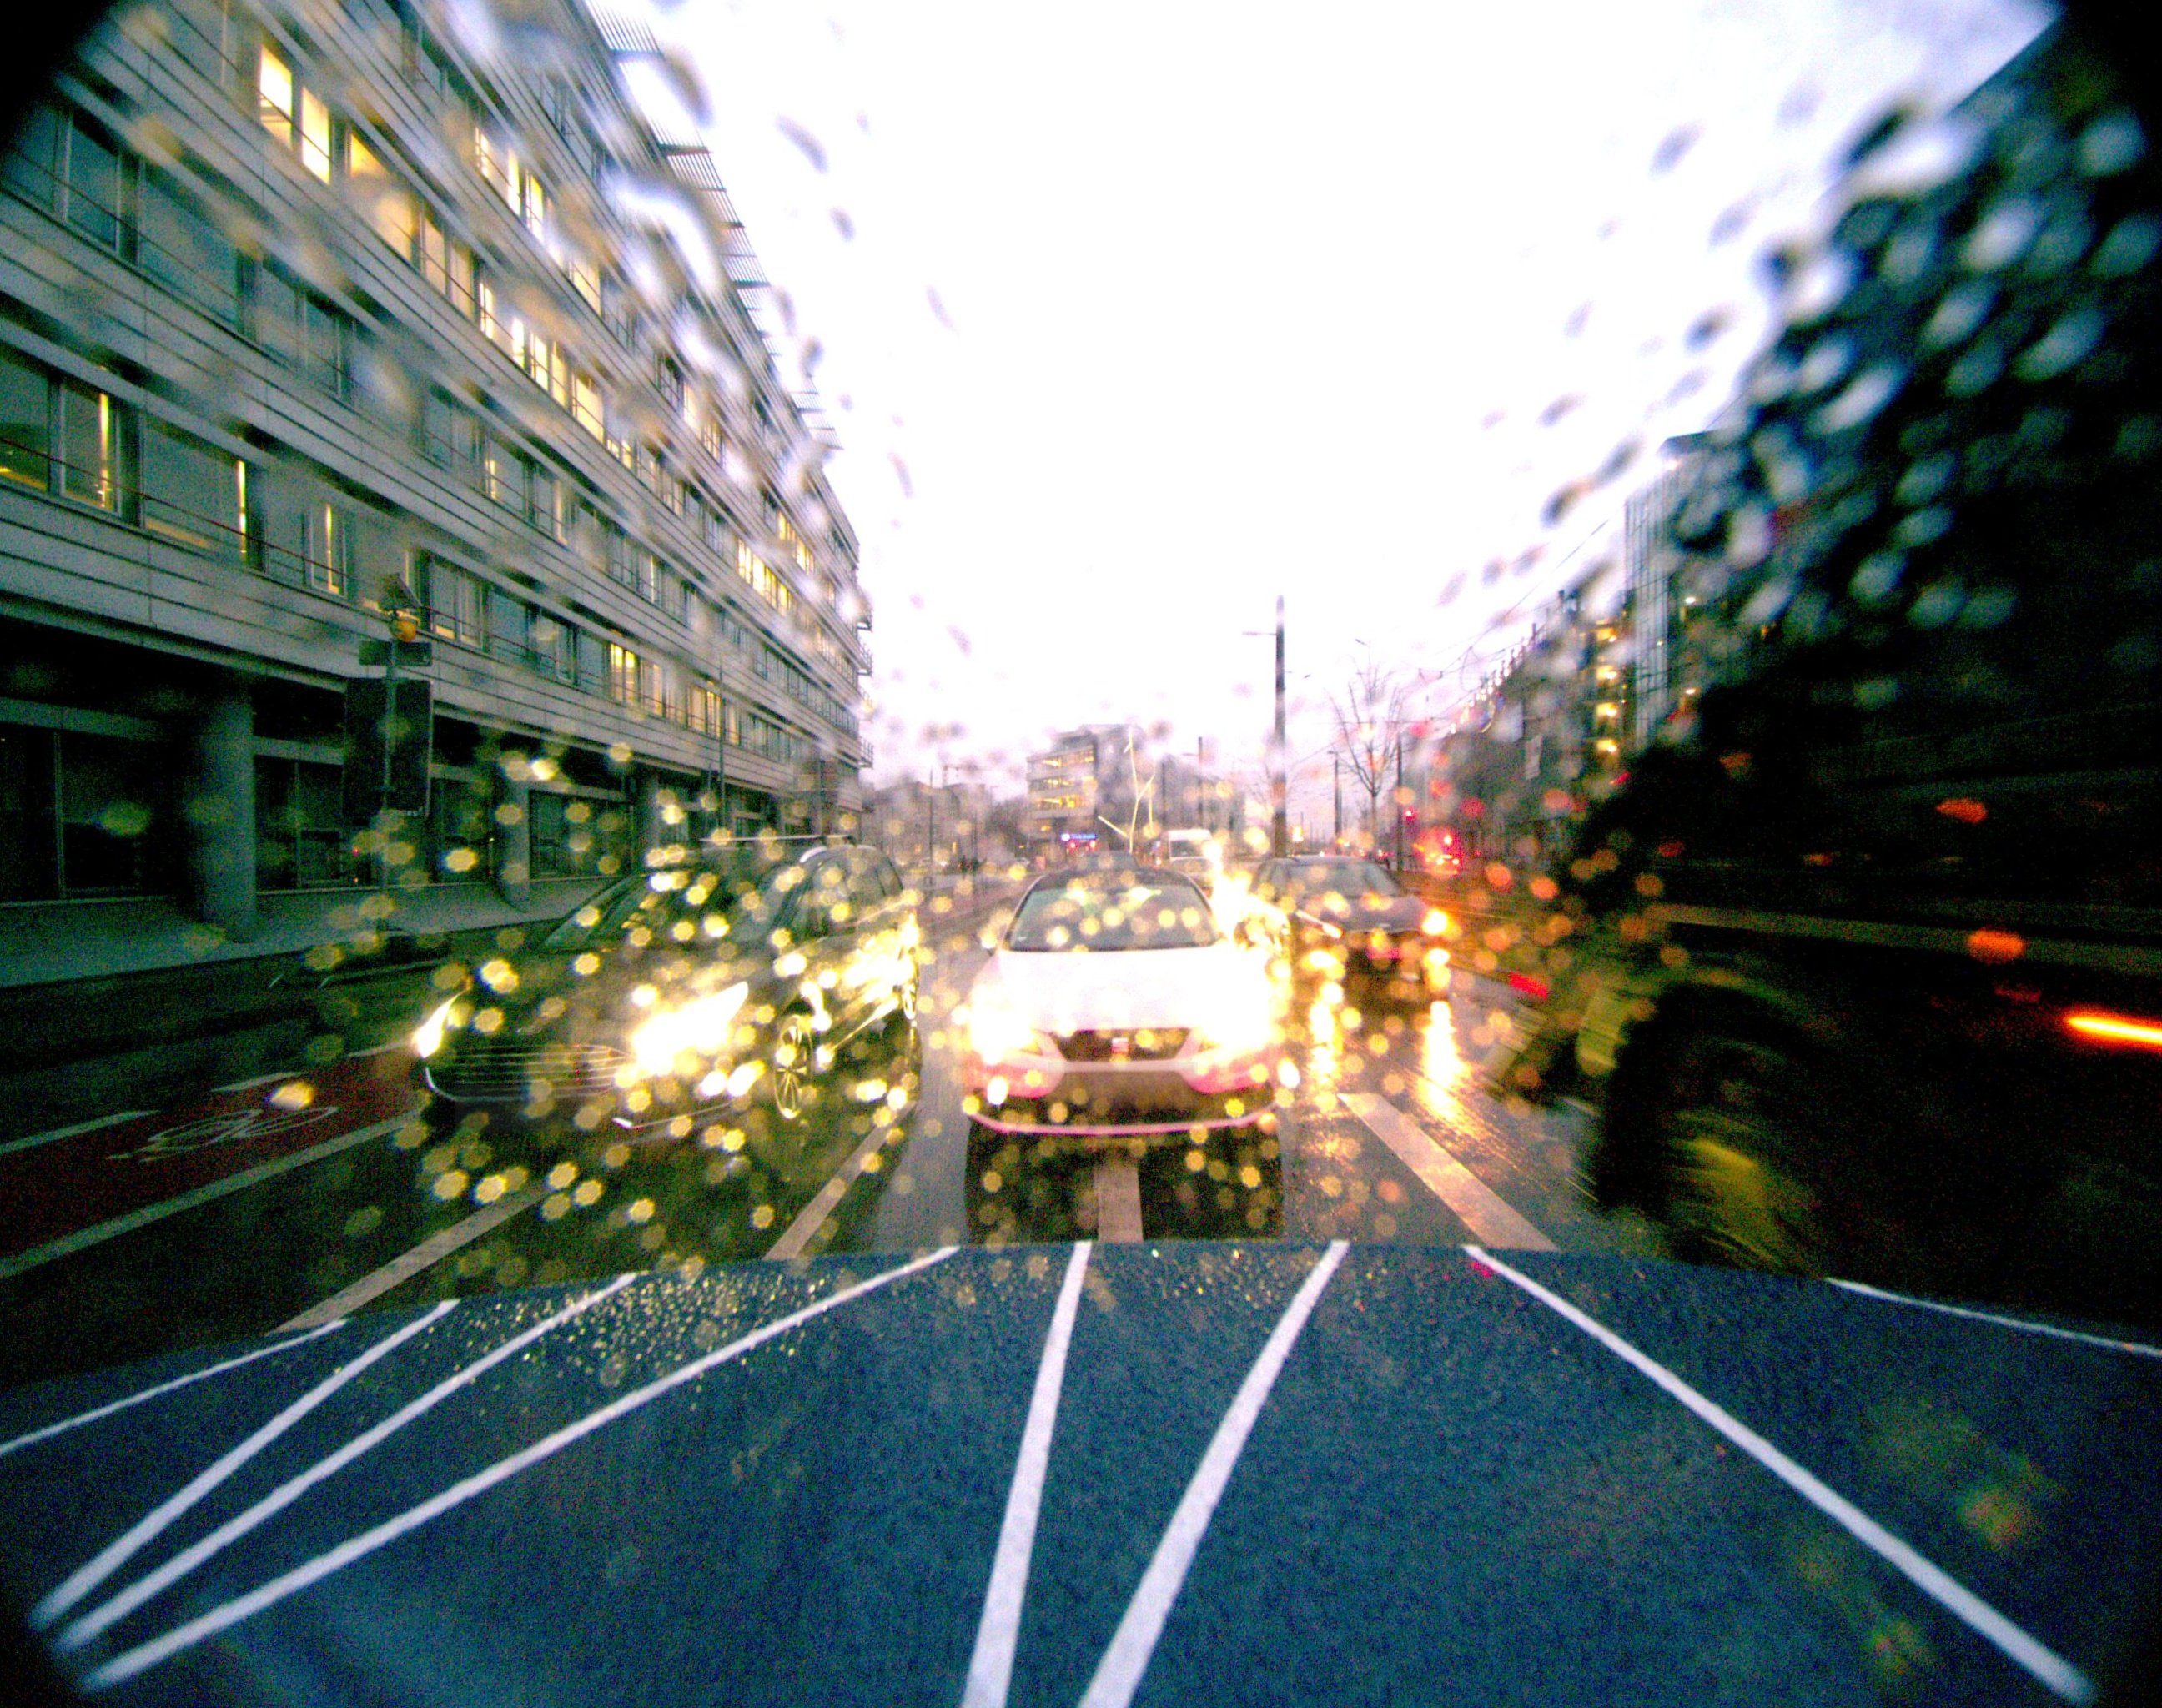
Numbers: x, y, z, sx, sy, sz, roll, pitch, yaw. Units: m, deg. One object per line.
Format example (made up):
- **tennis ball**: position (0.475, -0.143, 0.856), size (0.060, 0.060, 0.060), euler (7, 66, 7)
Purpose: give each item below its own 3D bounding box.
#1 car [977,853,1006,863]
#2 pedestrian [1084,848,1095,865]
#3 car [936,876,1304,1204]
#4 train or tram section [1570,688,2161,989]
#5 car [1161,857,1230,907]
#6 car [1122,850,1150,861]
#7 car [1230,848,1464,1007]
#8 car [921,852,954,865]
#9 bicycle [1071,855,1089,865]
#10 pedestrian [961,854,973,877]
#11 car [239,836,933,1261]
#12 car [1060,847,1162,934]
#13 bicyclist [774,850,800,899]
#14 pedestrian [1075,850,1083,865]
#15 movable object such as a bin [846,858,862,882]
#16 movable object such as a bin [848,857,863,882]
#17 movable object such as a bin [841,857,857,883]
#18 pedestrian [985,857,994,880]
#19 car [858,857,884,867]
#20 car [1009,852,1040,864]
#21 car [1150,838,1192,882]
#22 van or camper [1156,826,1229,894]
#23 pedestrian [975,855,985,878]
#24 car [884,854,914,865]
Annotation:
- **car**: position (-13.023, 0.569, 110.691), size (3.759, 1.528, 1.782), euler (-1, 0, 17)
- **pedestrian**: position (1.022, 0.306, 89.599), size (1.118, 2.002, 1.034), euler (0, 1, 15)
- **car**: position (0.216, 0.971, 5.689), size (1.782, 1.464, 3.943), euler (-1, 0, 1)
- **train or tram section**: position (14.327, -0.197, 9.901), size (2.872, 3.593, 20.068), euler (0, 0, 0)
- **car**: position (3.564, 0.831, 24.271), size (1.759, 1.337, 4.056), euler (-1, 1, 3)
- **car**: position (8.548, 0.234, 118.772), size (4.018, 1.645, 1.907), euler (0, 1, 41)
- **car**: position (3.171, 0.757, 9.905), size (1.634, 1.515, 3.941), euler (-3, 1, 0)
- **car**: position (-21.405, 0.680, 113.718), size (4.368, 1.750, 2.002), euler (-1, 1, 17)
- **bicycle**: position (-0.131, 0.734, 94.844), size (2.203, 1.182, 0.668), euler (0, 1, 5)
- **pedestrian**: position (-8.464, 0.858, 56.514), size (0.747, 1.692, 0.969), euler (2, 1, -3)
- **car**: position (-2.611, 0.847, 5.632), size (1.887, 1.800, 4.671), euler (-2, 0, 2)
- **car**: position (0.654, 0.771, 18.607), size (2.169, 1.744, 4.540), euler (0, 2, 0)
- **bicyclist**: position (-10.738, 0.733, 27.775), size (0.671, 1.788, 0.806), euler (-1, 1, -3)
- **pedestrian**: position (-0.275, 0.434, 94.812), size (0.892, 1.783, 0.668), euler (0, 1, 5)
- **movable object such as a bin**: position (-13.249, 0.928, 44.288), size (0.666, 1.420, 0.840), euler (-1, 1, -2)
- **movable object such as a bin**: position (-13.413, 0.933, 45.218), size (0.666, 1.468, 0.840), euler (-1, 1, -2)
- **movable object such as a bin**: position (-13.253, 0.915, 43.391), size (0.666, 1.420, 0.840), euler (-1, 1, -2)
- **pedestrian**: position (-6.738, 1.063, 56.008), size (0.616, 1.659, 0.884), euler (1, 1, -3)
- **car**: position (-36.334, 1.387, 131.389), size (3.991, 1.759, 1.815), euler (-1, 0, 20)
- **car**: position (-8.137, 0.538, 109.498), size (3.918, 1.699, 1.782), euler (-1, 1, 15)
- **car**: position (6.150, 0.384, 52.819), size (2.129, 2.847, 5.813), euler (-1, 0, -1)
- **van or camper**: position (4.526, 0.211, 31.761), size (2.153, 2.517, 5.898), euler (-1, 0, 0)
- **pedestrian**: position (-7.447, 0.898, 55.913), size (0.651, 1.692, 0.884), euler (1, 1, -3)
- **car**: position (-27.843, 0.851, 116.079), size (3.996, 1.663, 2.002), euler (-1, 1, 17)
